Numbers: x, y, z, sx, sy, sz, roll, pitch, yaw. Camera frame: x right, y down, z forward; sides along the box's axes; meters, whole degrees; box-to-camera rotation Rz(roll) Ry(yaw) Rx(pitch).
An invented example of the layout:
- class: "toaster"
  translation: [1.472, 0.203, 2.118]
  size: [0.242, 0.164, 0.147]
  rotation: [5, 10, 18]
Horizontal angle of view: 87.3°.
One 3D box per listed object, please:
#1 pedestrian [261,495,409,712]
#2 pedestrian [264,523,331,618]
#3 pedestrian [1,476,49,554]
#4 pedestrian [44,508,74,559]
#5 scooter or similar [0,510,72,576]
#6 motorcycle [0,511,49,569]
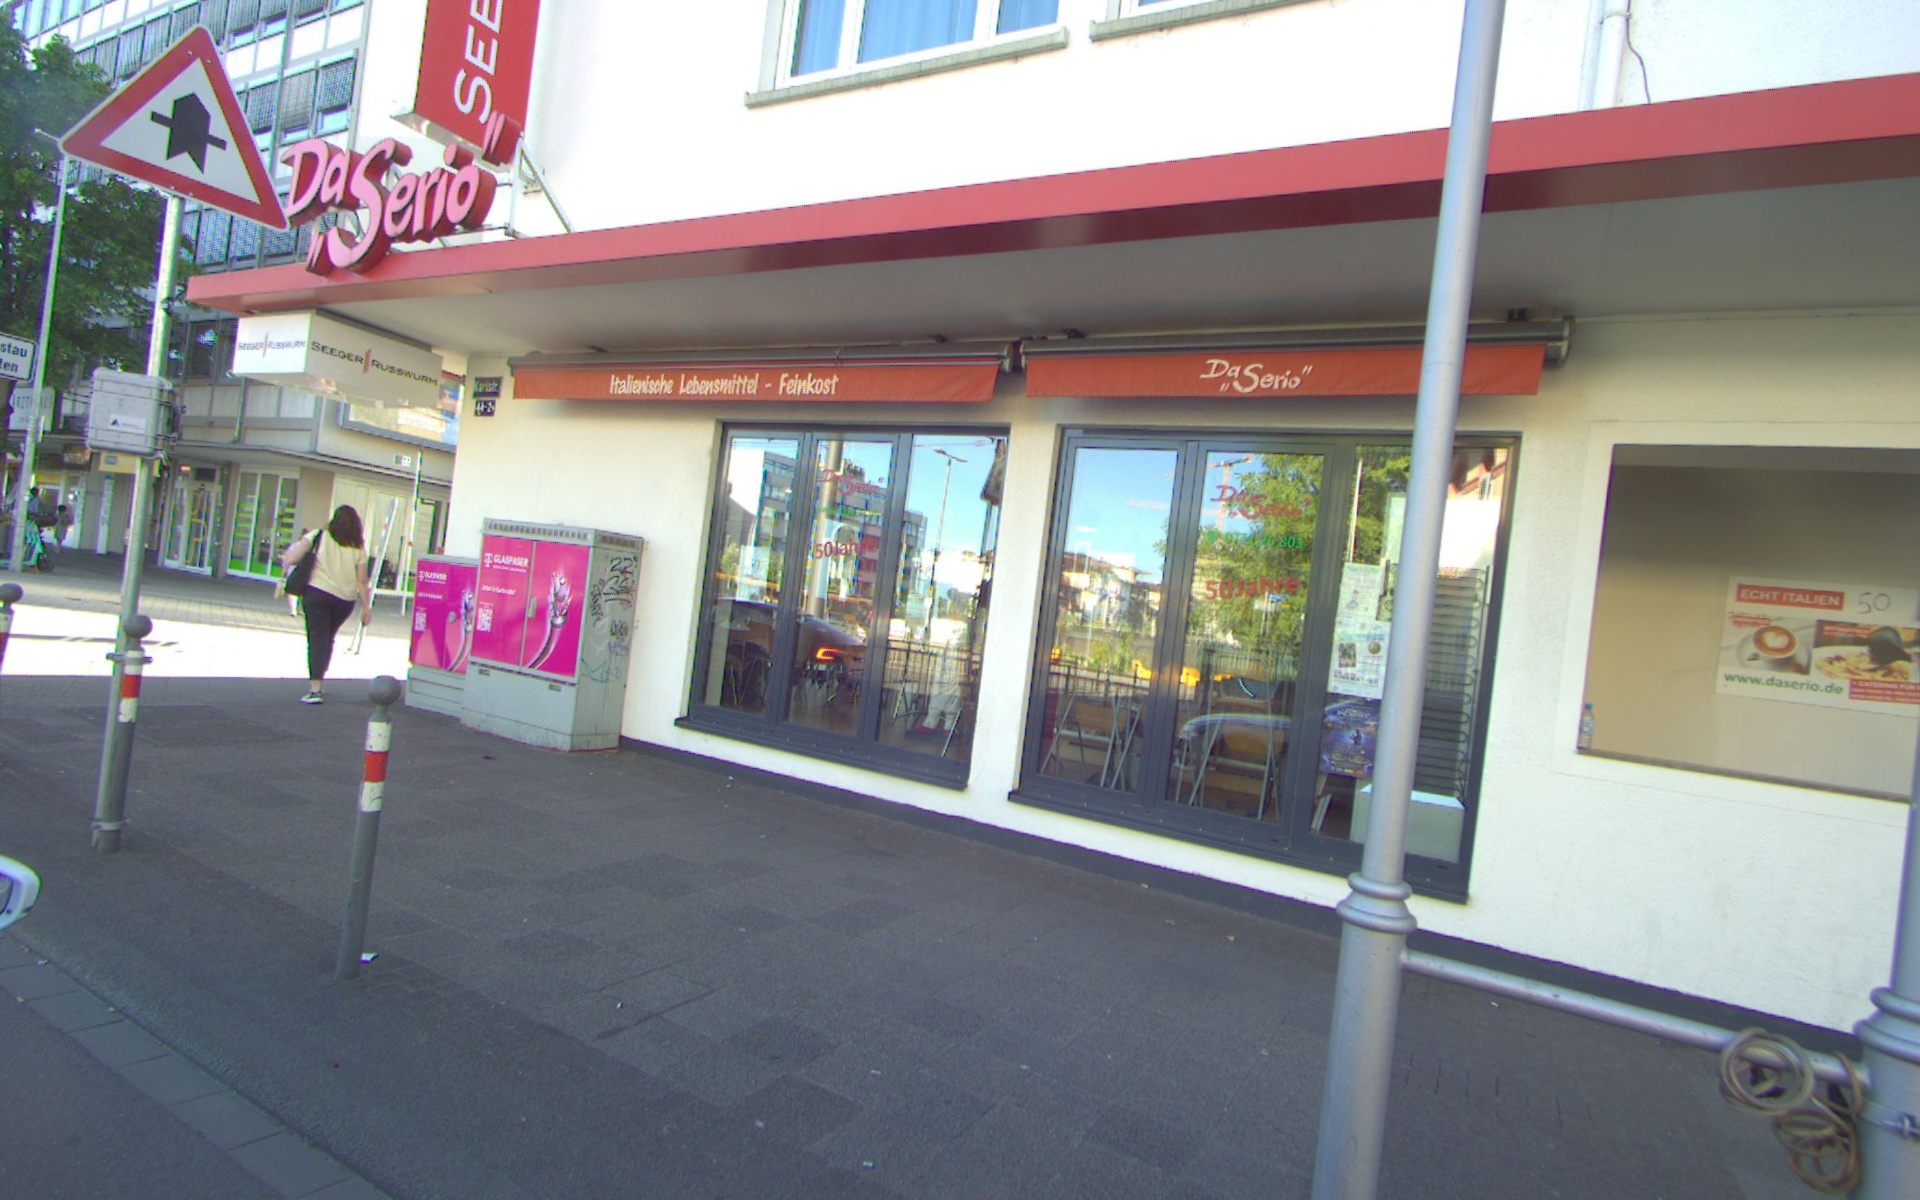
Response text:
- class: "pedestrian"
  translation: [-5.632, 0.030, 9.052]
  size: [0.909, 1.773, 1.029]
  rotation: [7, 0, -35]
- class: "pedestrian"
  translation: [-12.820, -0.562, 19.480]
  size: [0.884, 1.687, 0.801]
  rotation: [8, -1, -35]
- class: "pedestrian"
  translation: [-25.905, -2.352, 27.870]
  size: [0.570, 2.037, 0.663]
  rotation: [6, -1, 34]
- class: "pedestrian"
  translation: [-25.401, -1.866, 28.349]
  size: [0.504, 1.359, 0.390]
  rotation: [6, -1, 34]
- class: "scooter or similar"
  translation: [-19.935, -1.233, 21.182]
  size: [1.628, 1.229, 0.640]
  rotation: [8, -1, -29]
- class: "motorcycle"
  translation: [-21.594, -1.415, 22.430]
  size: [0.532, 1.186, 1.711]
  rotation: [7, -2, 30]
